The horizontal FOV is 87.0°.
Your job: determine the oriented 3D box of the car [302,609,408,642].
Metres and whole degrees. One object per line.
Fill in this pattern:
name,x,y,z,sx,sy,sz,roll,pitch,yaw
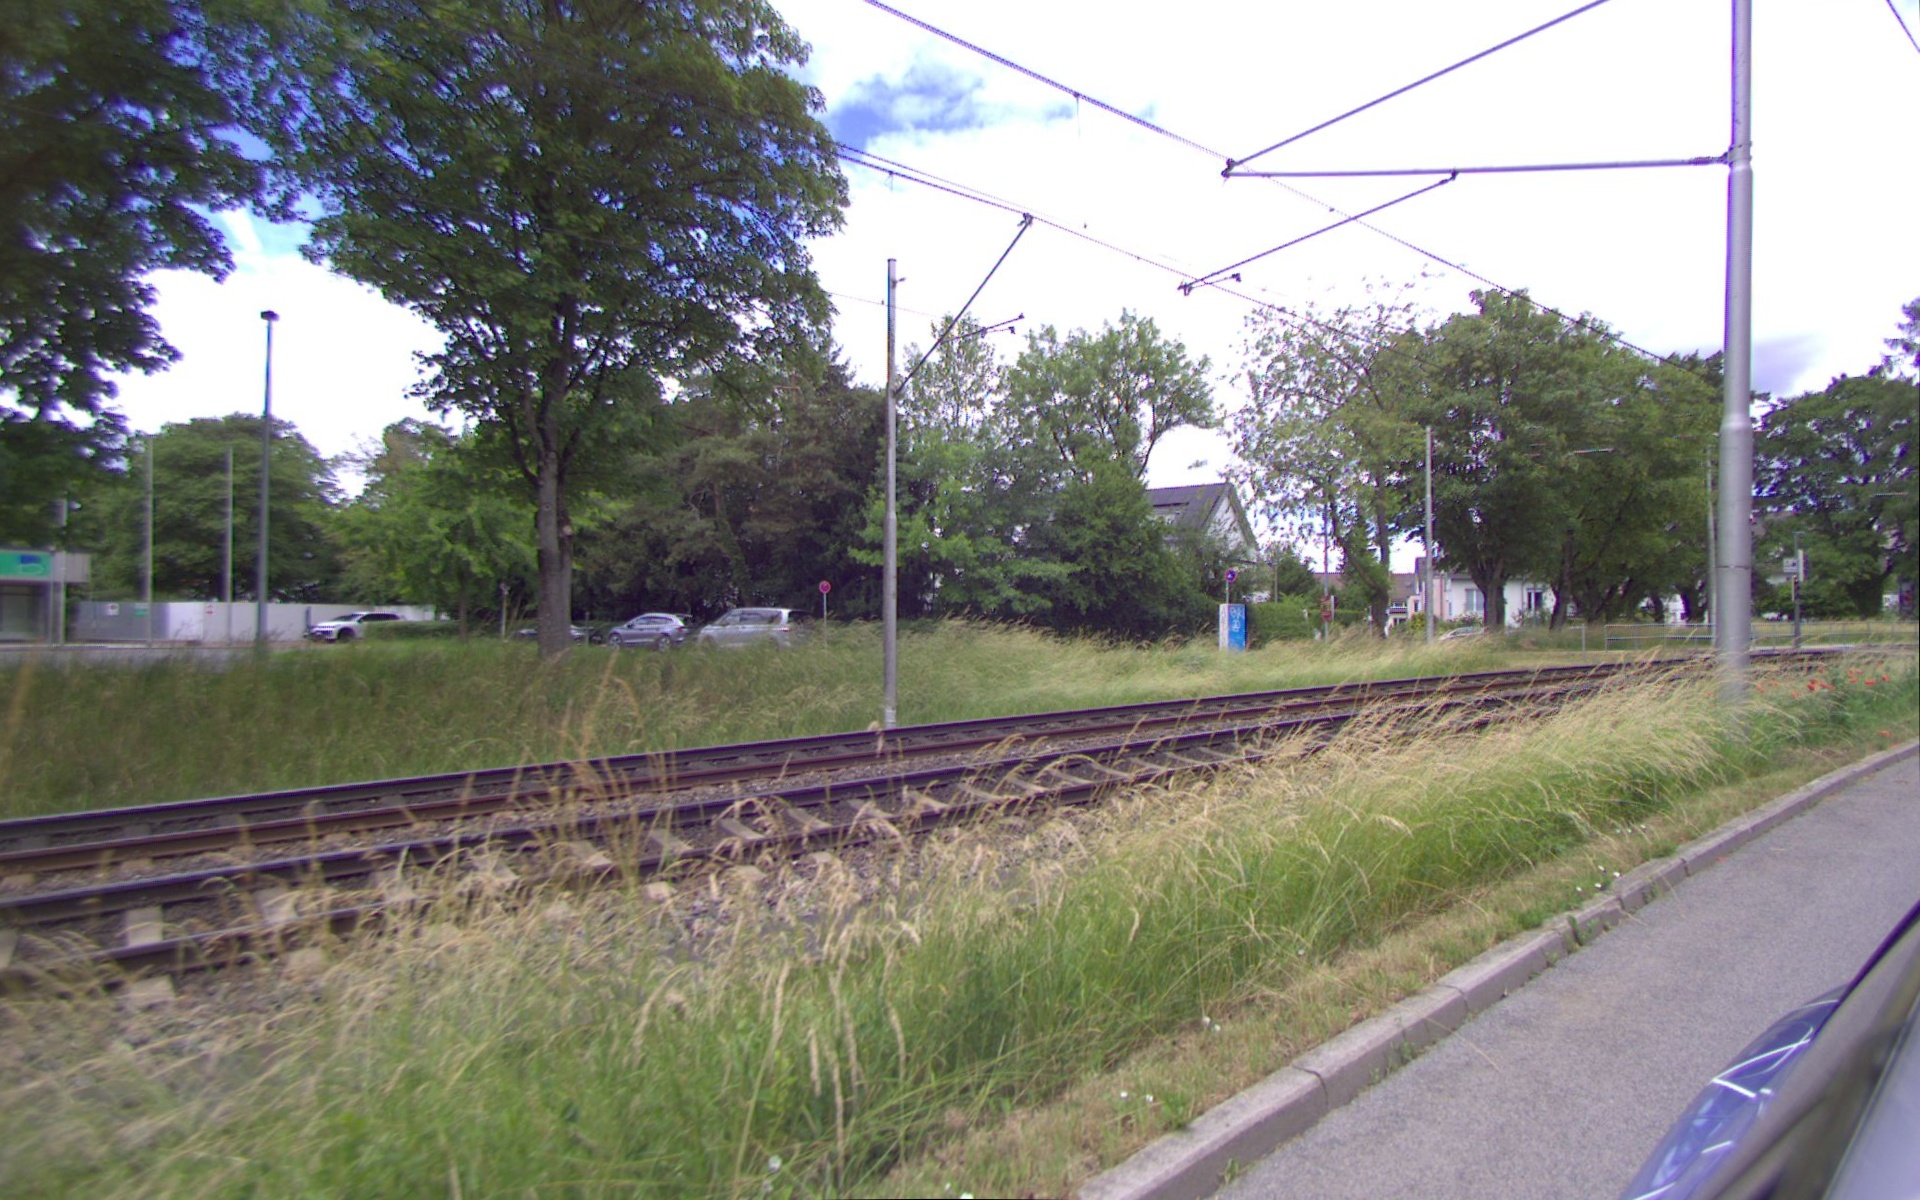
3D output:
car,-31.870,1.313,53.444,1.964,1.601,4.412,-1,0,32

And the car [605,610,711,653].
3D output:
car,-12.507,1.296,41.949,4.154,1.700,1.755,-1,-1,26

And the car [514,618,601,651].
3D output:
car,-17.599,1.500,44.212,3.489,1.351,1.659,-1,-1,26

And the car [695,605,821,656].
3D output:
car,-7.887,1.165,39.400,4.666,1.885,1.900,-1,-1,26
